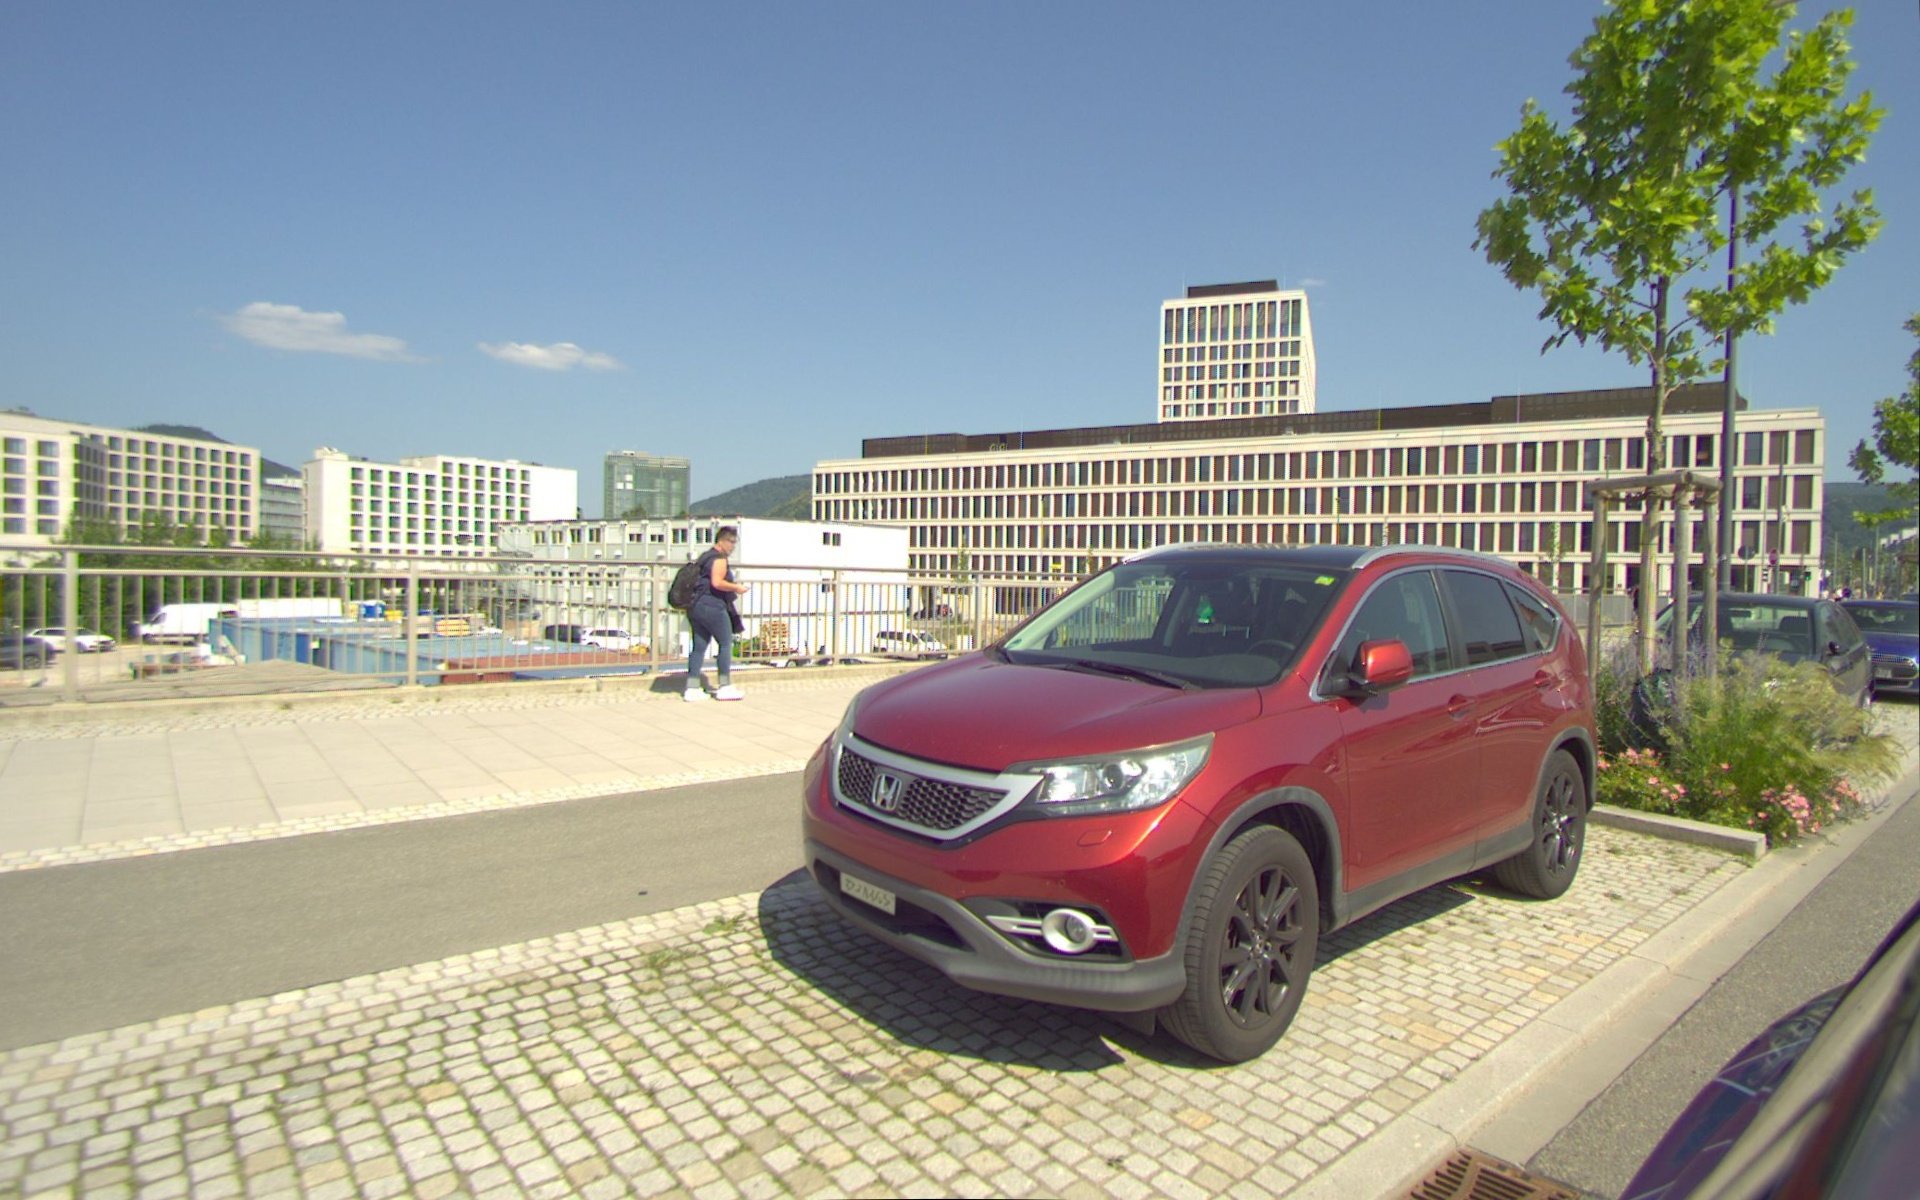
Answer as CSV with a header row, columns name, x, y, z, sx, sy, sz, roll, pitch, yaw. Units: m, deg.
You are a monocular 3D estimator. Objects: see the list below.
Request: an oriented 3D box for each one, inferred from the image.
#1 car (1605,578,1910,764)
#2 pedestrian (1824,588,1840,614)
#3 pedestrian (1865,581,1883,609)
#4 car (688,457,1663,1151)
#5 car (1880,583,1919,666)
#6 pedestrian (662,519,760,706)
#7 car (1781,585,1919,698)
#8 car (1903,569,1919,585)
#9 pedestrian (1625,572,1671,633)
name,x,y,z,sx,sy,sz,roll,pitch,yaw
car,8.082,0.588,10.152,3.755,1.497,1.624,1,1,-40
pedestrian,63.812,0.049,74.057,0.823,1.805,0.913,3,3,41
pedestrian,62.813,-0.363,69.582,0.877,1.849,1.639,2,1,42
car,1.297,0.471,4.555,4.466,1.637,1.913,1,1,-40
car,21.352,0.500,21.707,4.792,1.647,1.875,0,1,-42
pedestrian,-2.424,0.103,9.839,0.639,1.726,0.733,-1,1,-40
car,14.356,0.588,15.530,4.083,1.497,1.913,1,2,-39
car,95.558,-2.345,101.039,1.804,1.527,3.942,0,1,41
pedestrian,18.978,0.063,27.921,0.932,1.628,0.752,0,4,-41
